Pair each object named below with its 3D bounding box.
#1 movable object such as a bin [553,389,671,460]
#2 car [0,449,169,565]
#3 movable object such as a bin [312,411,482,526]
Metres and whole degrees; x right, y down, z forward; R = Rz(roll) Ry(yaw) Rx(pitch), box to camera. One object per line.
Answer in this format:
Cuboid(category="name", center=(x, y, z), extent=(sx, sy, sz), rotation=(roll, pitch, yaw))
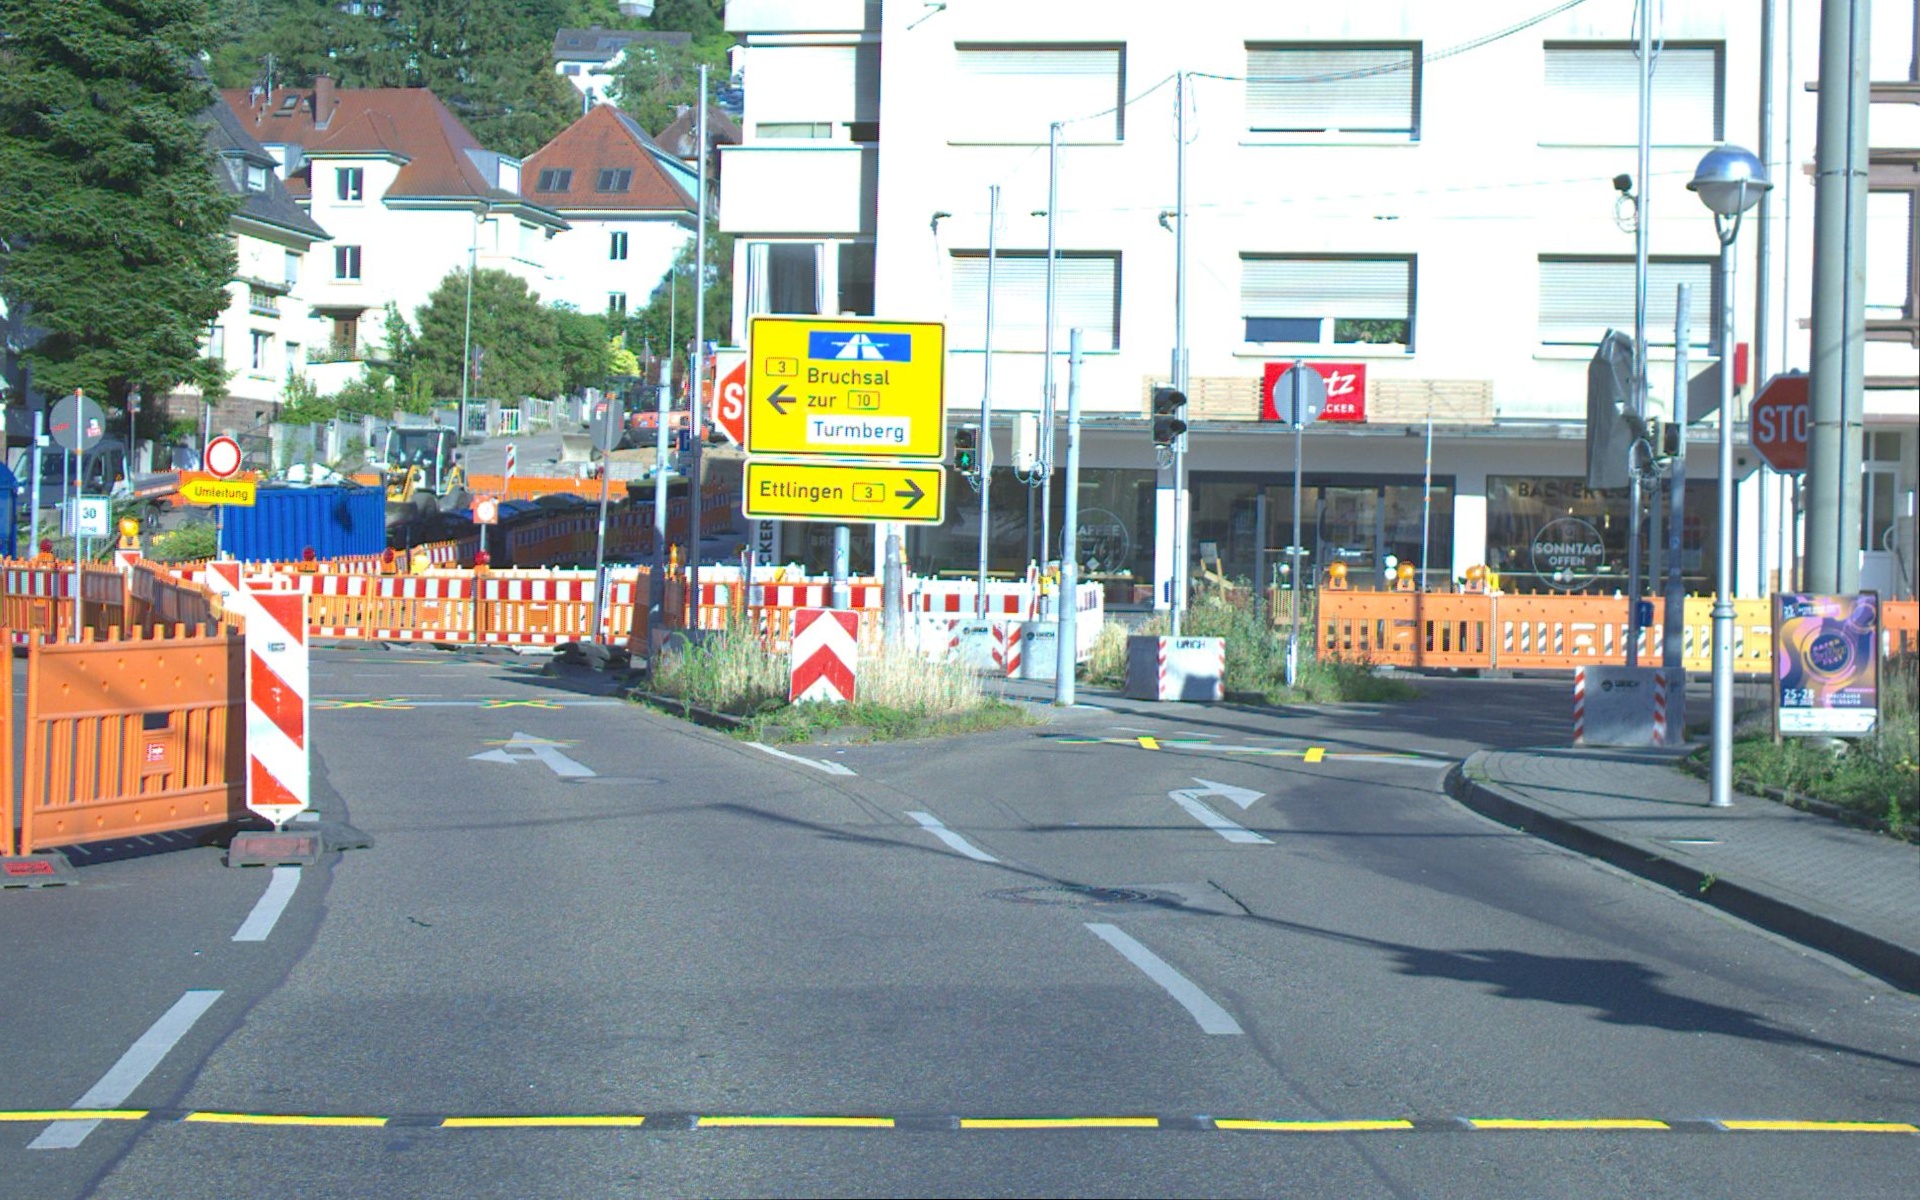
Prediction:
Cuboid(category="movable object such as a bin", center=(-11.588, -5.835, 114.847), extent=(2.566, 2.114, 5.782), rotation=(1, 1, 8))
Cuboid(category="car", center=(-17.978, -1.751, 66.132), extent=(2.585, 2.113, 6.145), rotation=(1, 1, 18))
Cuboid(category="movable object such as a bin", center=(-12.887, -2.987, 78.953), extent=(1.950, 2.486, 4.547), rotation=(1, 1, 18))
